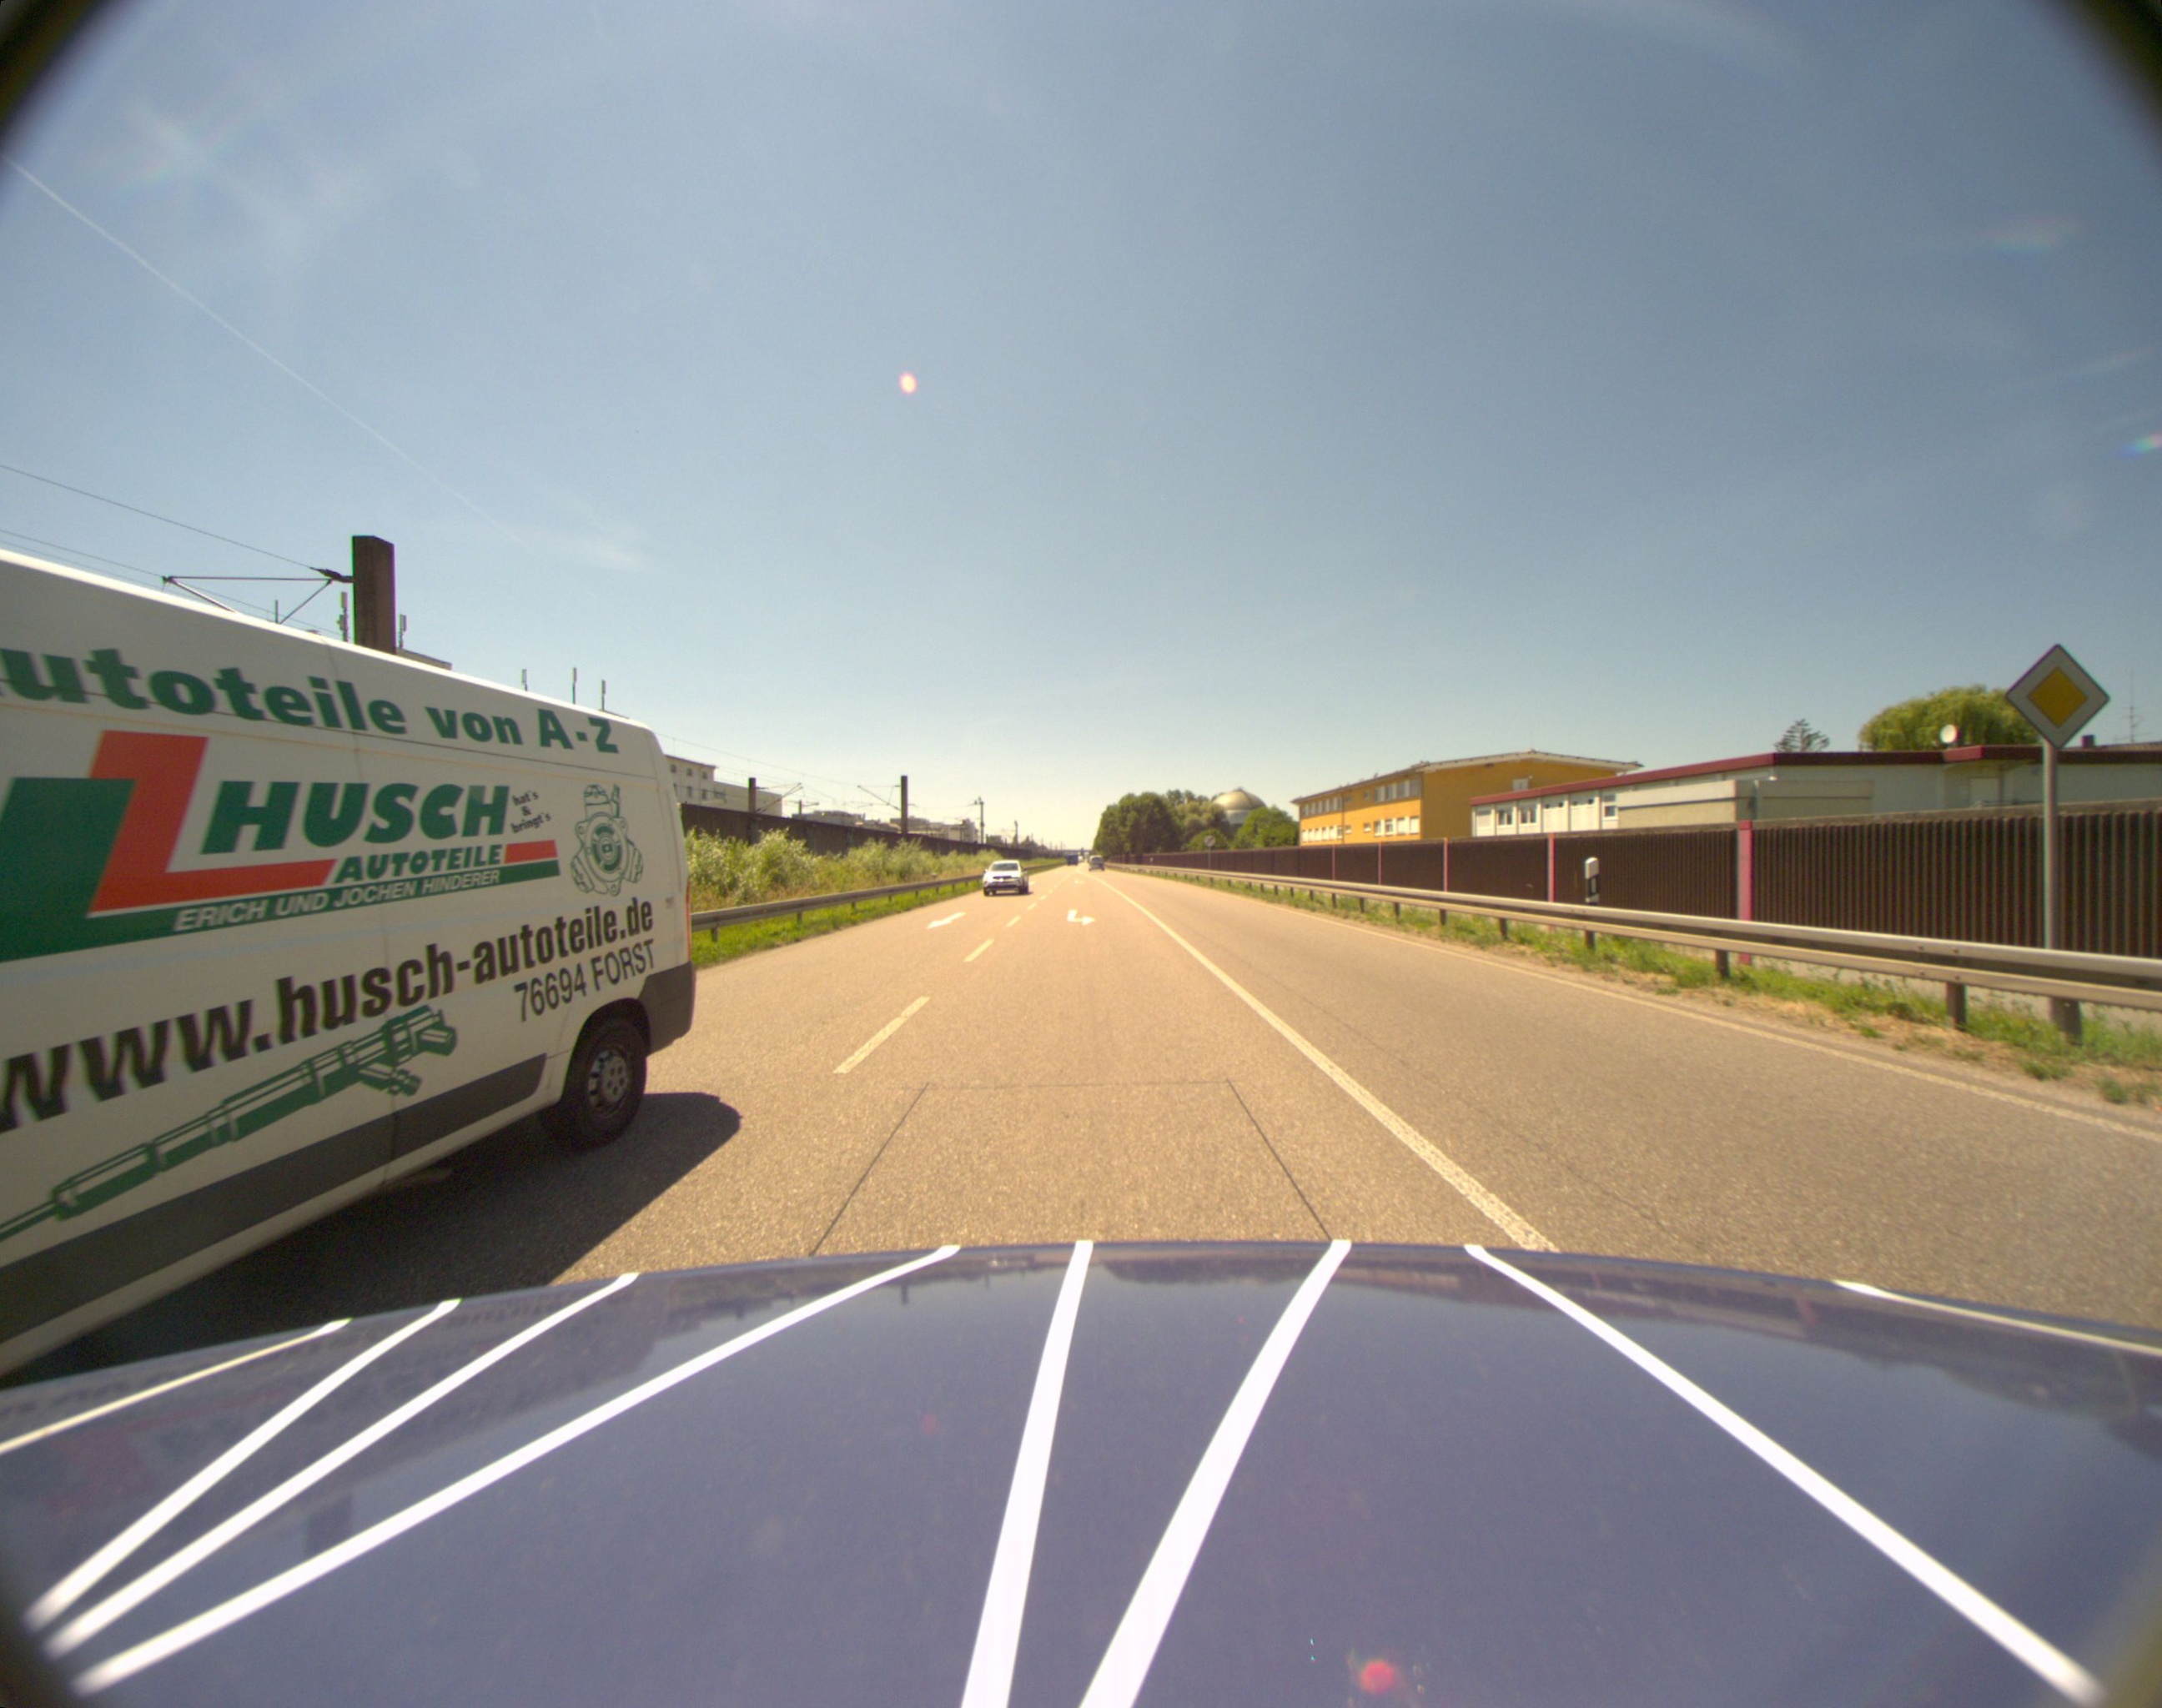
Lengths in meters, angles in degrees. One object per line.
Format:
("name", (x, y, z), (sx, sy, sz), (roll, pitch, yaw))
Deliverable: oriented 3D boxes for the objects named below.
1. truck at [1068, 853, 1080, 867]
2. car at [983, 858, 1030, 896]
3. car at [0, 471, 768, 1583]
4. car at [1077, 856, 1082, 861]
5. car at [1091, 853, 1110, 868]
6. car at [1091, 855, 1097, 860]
("truck", (-1.474, 1.382, 172.214), (2.617, 3.024, 10.655), (-1, 0, 0))
("car", (-3.364, 0.998, 34.943), (1.823, 1.554, 4.278), (-2, 0, -2))
("car", (-3.619, 0.424, 2.561), (2.194, 2.588, 6.750), (-2, 0, 0))
("car", (-0.486, 1.533, 243.349), (1.730, 1.464, 3.889), (-1, 0, -1))
("car", (2.296, 0.729, 91.477), (1.892, 1.730, 4.775), (-2, 0, -2))
("car", (3.946, 1.111, 233.680), (1.849, 1.382, 4.190), (-2, 0, 0))
